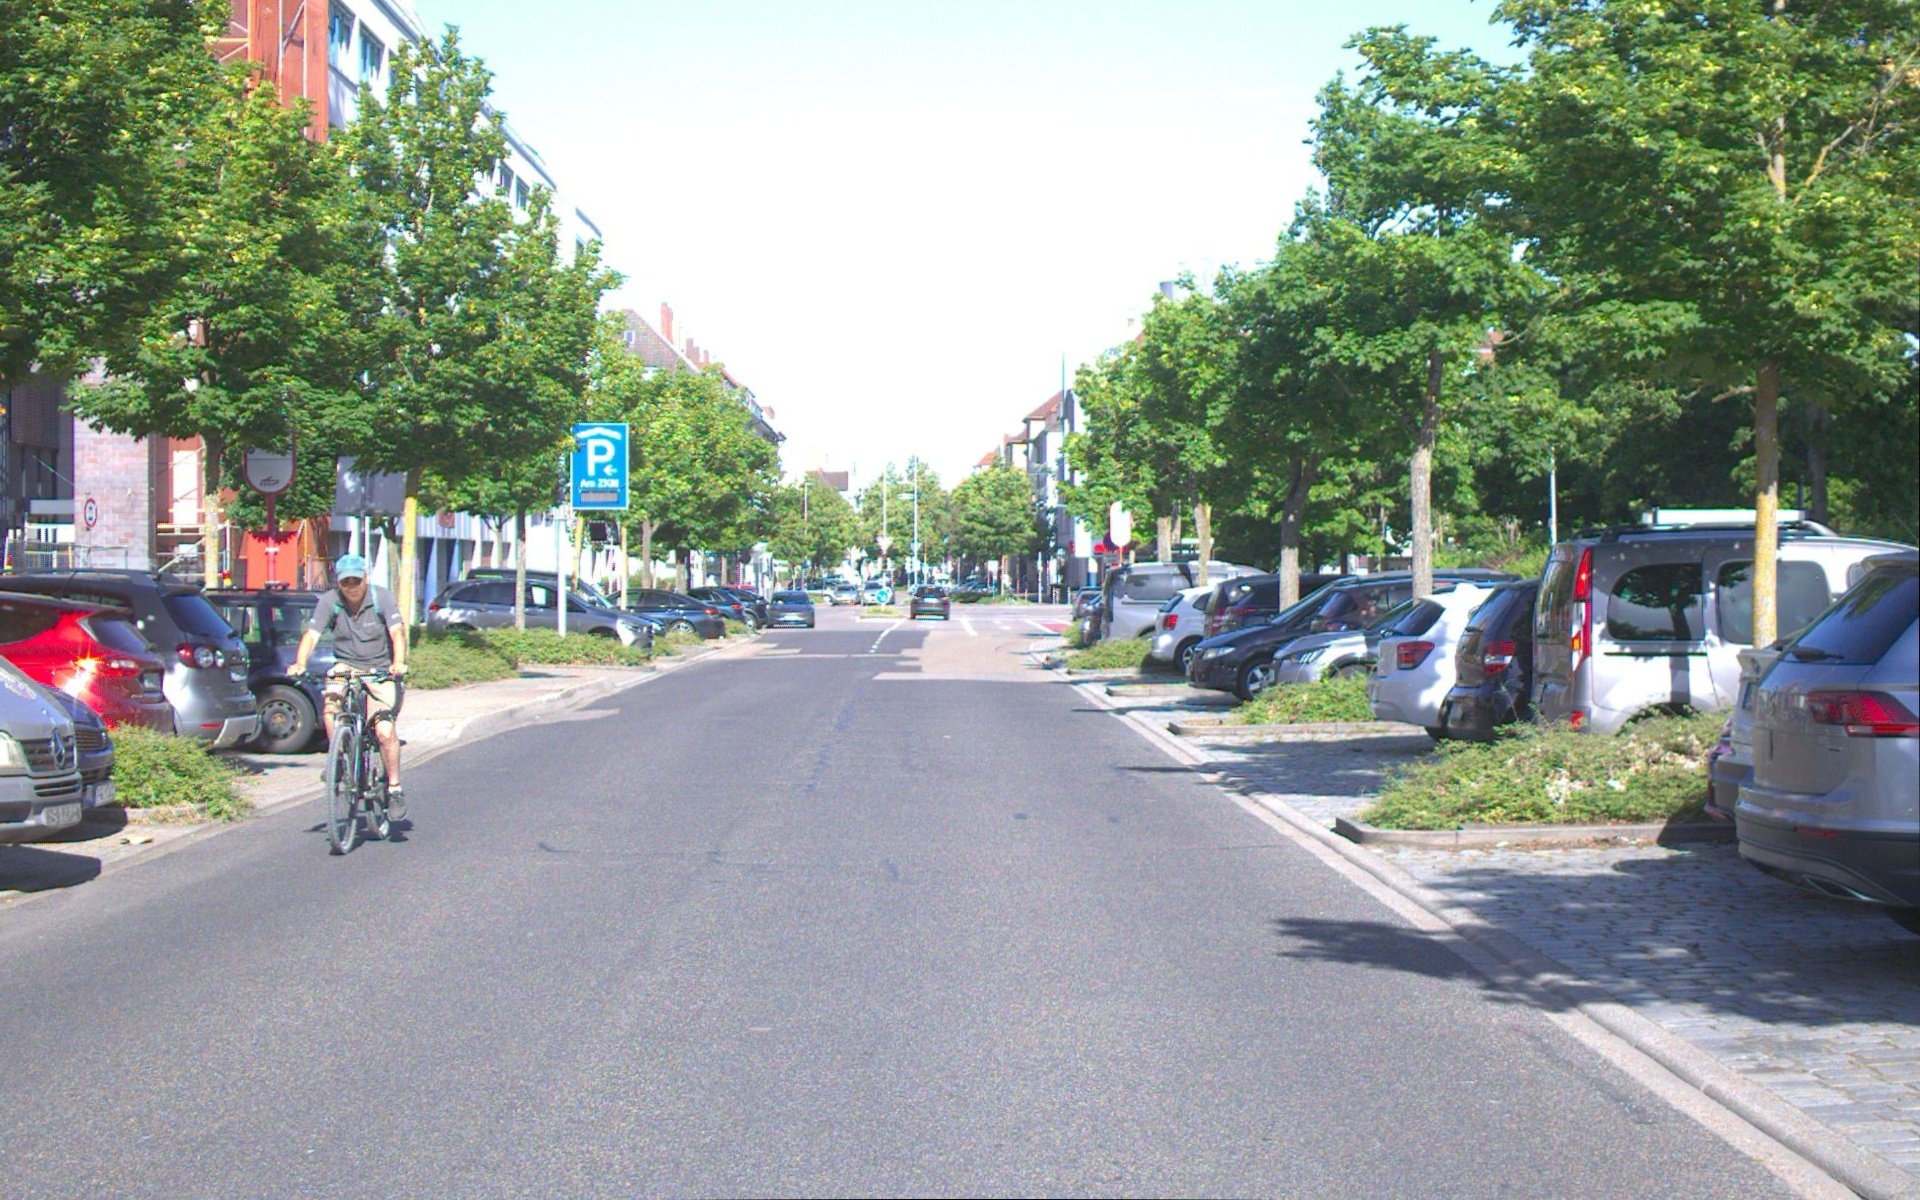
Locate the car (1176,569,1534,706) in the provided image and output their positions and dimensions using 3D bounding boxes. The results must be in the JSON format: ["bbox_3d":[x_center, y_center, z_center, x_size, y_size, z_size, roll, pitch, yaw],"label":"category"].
[{"bbox_3d":[4.819,0.444,42.286,4.144,1.574,1.741,-1,1,-1],"label":"car"}]

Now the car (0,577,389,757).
[{"bbox_3d":[-7.525,0.599,32.062,4.129,1.487,1.869,2,1,-3],"label":"car"}]

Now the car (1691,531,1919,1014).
[{"bbox_3d":[4.989,0.582,13.229,3.899,1.689,1.941,0,2,-2],"label":"car"}]

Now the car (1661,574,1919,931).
[{"bbox_3d":[5.255,0.652,16.116,3.496,1.524,1.738,-1,1,-5],"label":"car"}]

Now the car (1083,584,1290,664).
[{"bbox_3d":[4.357,0.447,66.207,3.913,1.469,1.795,0,1,4],"label":"car"}]

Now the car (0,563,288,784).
[{"bbox_3d":[-7.608,0.533,27.591,3.987,1.658,1.828,2,0,3],"label":"car"}]

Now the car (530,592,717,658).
[{"bbox_3d":[-7.945,0.573,81.471,4.330,1.469,1.818,0,1,-4],"label":"car"}]

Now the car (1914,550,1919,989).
[{"bbox_3d":[5.445,0.605,10.775,4.319,1.602,1.912,-1,0,-4],"label":"car"}]

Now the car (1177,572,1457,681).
[{"bbox_3d":[5.327,0.396,51.693,3.987,1.576,2.031,0,0,0],"label":"car"}]

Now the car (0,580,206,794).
[{"bbox_3d":[-7.736,0.617,25.249,3.987,1.512,1.855,0,0,1],"label":"car"}]

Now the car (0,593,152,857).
[{"bbox_3d":[-7.026,0.683,20.545,3.933,1.480,1.785,1,0,1],"label":"car"}]

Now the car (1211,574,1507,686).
[{"bbox_3d":[5.651,0.429,49.039,3.987,1.533,1.861,0,0,0],"label":"car"}]

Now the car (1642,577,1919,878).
[{"bbox_3d":[5.575,0.636,18.538,3.362,1.525,1.601,-1,0,-9],"label":"car"}]

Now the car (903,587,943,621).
[{"bbox_3d":[-1.727,0.185,160.674,1.812,1.469,4.111,0,1,0],"label":"car"}]

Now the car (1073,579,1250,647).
[{"bbox_3d":[4.535,0.306,77.175,3.913,1.470,1.757,0,-1,4],"label":"car"}]

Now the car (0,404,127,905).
[{"bbox_3d":[-7.296,0.179,17.535,5.551,2.401,1.988,1,1,2],"label":"car"}]

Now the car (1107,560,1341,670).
[{"bbox_3d":[4.624,0.249,60.555,3.987,1.873,1.682,0,1,0],"label":"car"}]

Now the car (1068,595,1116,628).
[{"bbox_3d":[6.320,0.522,164.813,1.989,1.469,4.111,0,1,-2],"label":"car"}]

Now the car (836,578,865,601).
[{"bbox_3d":[-7.564,-0.738,237.670,1.812,1.469,4.111,0,1,0],"label":"car"}]

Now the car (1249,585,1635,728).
[{"bbox_3d":[5.175,0.592,37.234,3.900,1.481,1.743,0,1,-1],"label":"car"}]

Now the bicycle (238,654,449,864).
[{"bbox_3d":[-3.577,0.901,20.132,0.698,1.107,2.079,-1,0,4],"label":"bicycle"}]

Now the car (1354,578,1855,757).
[{"bbox_3d":[5.595,0.577,30.203,4.062,1.421,1.742,-1,0,1],"label":"car"}]

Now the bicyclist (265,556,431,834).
[{"bbox_3d":[-3.582,0.541,20.184,0.683,1.575,1.061,-1,0,4],"label":"bicyclist"}]

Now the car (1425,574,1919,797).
[{"bbox_3d":[5.412,0.608,25.641,3.605,1.544,1.707,0,2,-2],"label":"car"}]

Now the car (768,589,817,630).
[{"bbox_3d":[-6.542,0.357,134.261,1.811,1.469,4.111,0,1,-1],"label":"car"}]

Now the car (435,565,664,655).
[{"bbox_3d":[-7.919,0.181,66.578,4.261,1.660,1.599,0,1,-1],"label":"car"}]

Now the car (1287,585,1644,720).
[{"bbox_3d":[5.849,0.597,40.034,3.861,1.499,1.652,0,1,-2],"label":"car"}]

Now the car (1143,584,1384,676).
[{"bbox_3d":[4.960,0.480,56.488,3.765,1.454,1.818,0,0,-1],"label":"car"}]

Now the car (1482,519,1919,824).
[{"bbox_3d":[5.737,0.428,23.067,4.118,1.921,1.979,0,2,-2],"label":"car"}]
